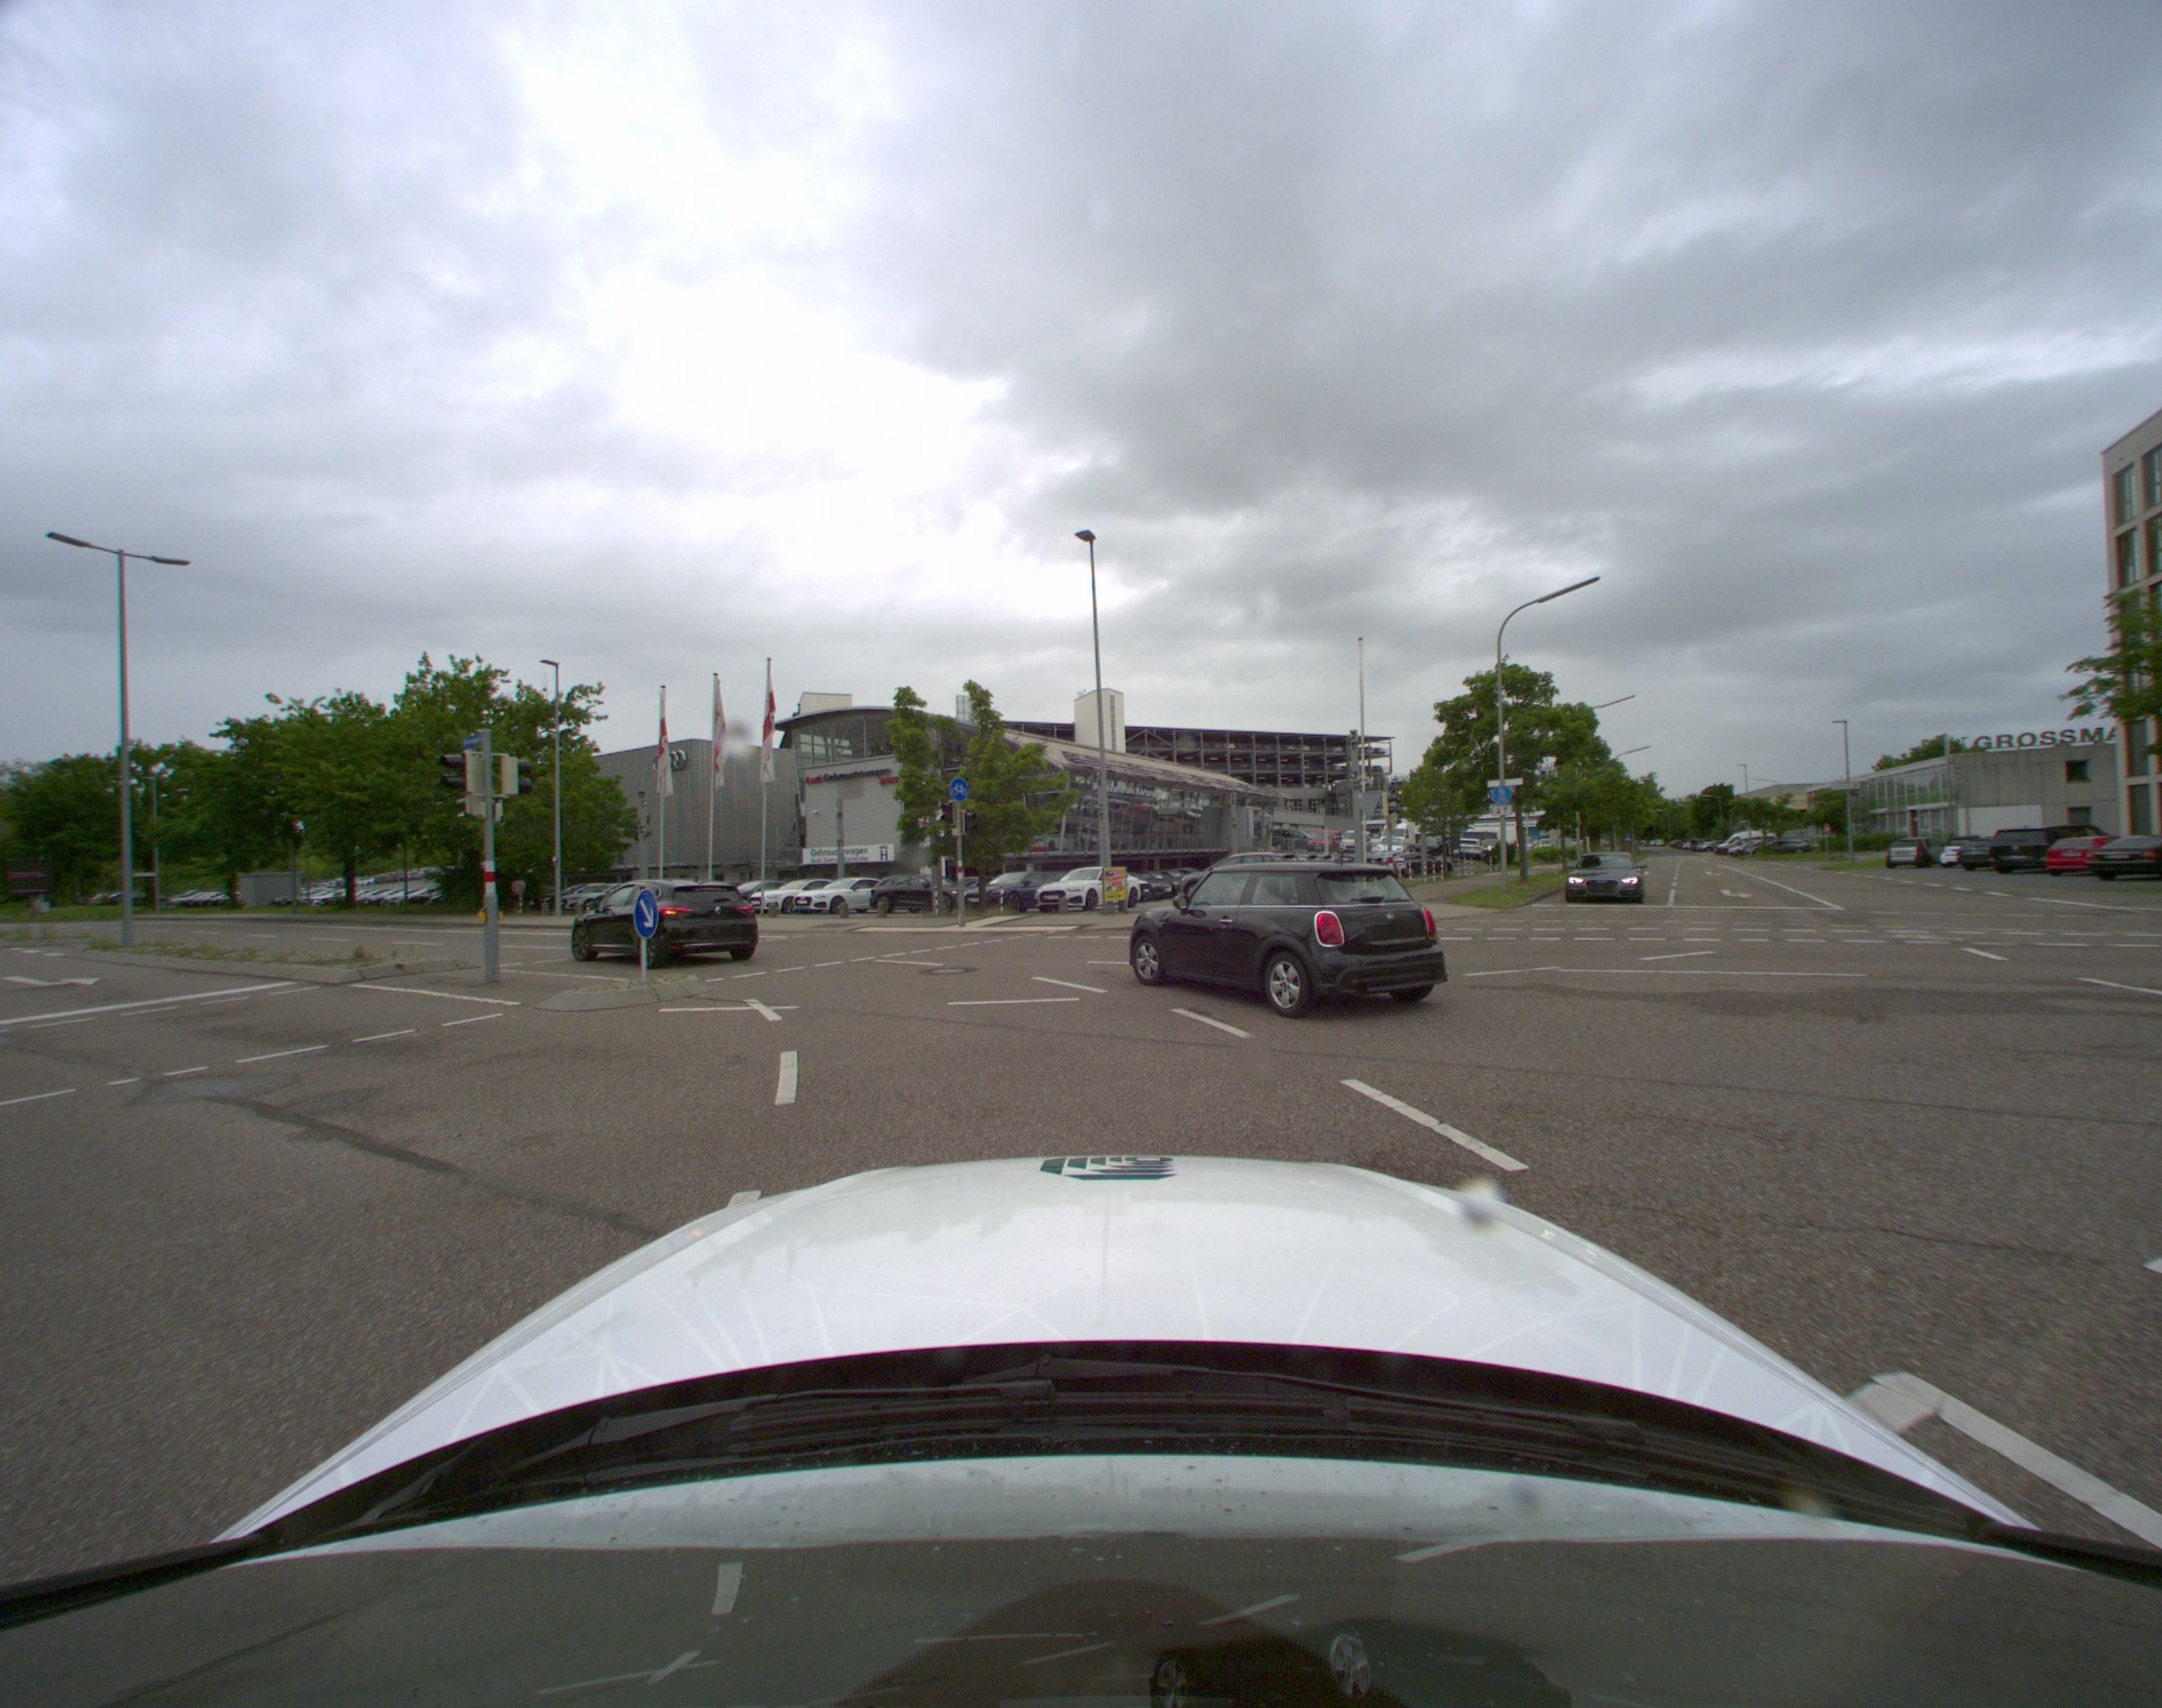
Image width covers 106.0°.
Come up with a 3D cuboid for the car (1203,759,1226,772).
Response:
[{"bbox_3d":[22.468,-14.856,137.248,2.002,1.667,3.969,-1,0,-23],"label":"car"}]

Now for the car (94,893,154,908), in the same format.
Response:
[{"bbox_3d":[-100.832,4.889,85.805,1.708,1.436,4.025,0,-1,38],"label":"car"}]

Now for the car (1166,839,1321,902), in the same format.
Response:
[{"bbox_3d":[5.566,0.588,28.067,4.726,1.863,2.012,-4,-2,30],"label":"car"}]

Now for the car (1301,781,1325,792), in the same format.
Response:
[{"bbox_3d":[41.511,-12.076,145.877,2.002,1.667,3.969,-1,0,-23],"label":"car"}]

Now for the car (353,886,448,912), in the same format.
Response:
[{"bbox_3d":[-43.762,2.909,52.452,1.951,1.486,4.220,0,-4,32],"label":"car"}]

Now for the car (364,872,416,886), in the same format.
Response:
[{"bbox_3d":[-77.584,2.766,91.512,1.708,1.436,4.124,0,0,30],"label":"car"}]

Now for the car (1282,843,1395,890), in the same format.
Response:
[{"bbox_3d":[12.552,0.641,39.777,4.845,2.014,2.012,-4,-2,30],"label":"car"}]

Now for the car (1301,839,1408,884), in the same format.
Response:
[{"bbox_3d":[14.089,0.423,42.044,4.845,2.014,2.012,-4,-2,30],"label":"car"}]

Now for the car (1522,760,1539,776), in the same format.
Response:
[{"bbox_3d":[65.617,-12.542,118.814,1.974,1.883,4.025,-3,-2,30],"label":"car"}]

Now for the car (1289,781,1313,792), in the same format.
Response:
[{"bbox_3d":[39.251,-12.076,145.305,2.002,1.667,3.969,-1,0,-23],"label":"car"}]

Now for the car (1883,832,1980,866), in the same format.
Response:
[{"bbox_3d":[43.726,-0.258,41.907,3.419,1.732,1.762,0,0,-7],"label":"car"}]

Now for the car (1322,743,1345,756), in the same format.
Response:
[{"bbox_3d":[46.037,-19.062,148.647,2.002,1.667,3.969,-1,0,-23],"label":"car"}]

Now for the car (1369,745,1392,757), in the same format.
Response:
[{"bbox_3d":[56.332,-19.428,153.258,2.002,1.667,3.969,-1,0,-23],"label":"car"}]

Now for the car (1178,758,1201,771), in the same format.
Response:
[{"bbox_3d":[17.971,-14.854,135.303,2.002,1.667,3.969,-1,0,-23],"label":"car"}]

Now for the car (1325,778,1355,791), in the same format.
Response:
[{"bbox_3d":[47.932,-12.903,150.588,2.215,1.945,5.285,-1,0,-27],"label":"car"}]

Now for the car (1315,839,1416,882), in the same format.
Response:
[{"bbox_3d":[15.529,0.397,44.513,4.845,2.014,2.012,-4,-2,30],"label":"car"}]

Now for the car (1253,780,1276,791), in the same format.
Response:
[{"bbox_3d":[31.965,-11.926,141.696,2.002,1.667,3.969,-1,0,-23],"label":"car"}]

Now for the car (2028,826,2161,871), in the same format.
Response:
[{"bbox_3d":[37.886,-0.204,30.132,4.121,1.551,1.882,-1,-1,-10],"label":"car"}]

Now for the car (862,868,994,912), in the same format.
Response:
[{"bbox_3d":[-5.636,1.361,29.782,4.693,1.486,1.904,-3,-4,32],"label":"car"}]

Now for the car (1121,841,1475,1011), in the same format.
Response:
[{"bbox_3d":[2.070,0.761,8.823,1.794,1.416,3.612,2,-5,-25],"label":"car"}]

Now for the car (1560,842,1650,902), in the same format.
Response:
[{"bbox_3d":[15.387,0.473,23.788,1.959,1.551,4.643,-2,0,35],"label":"car"}]

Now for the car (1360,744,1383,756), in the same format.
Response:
[{"bbox_3d":[54.319,-19.382,152.278,2.002,1.667,3.969,-1,0,-23],"label":"car"}]

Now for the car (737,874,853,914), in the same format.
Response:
[{"bbox_3d":[-11.350,1.604,32.569,1.852,1.486,4.069,-2,-3,32],"label":"car"}]

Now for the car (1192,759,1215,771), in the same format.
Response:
[{"bbox_3d":[20.503,-14.854,136.178,2.002,1.667,3.969,-1,0,-23],"label":"car"}]

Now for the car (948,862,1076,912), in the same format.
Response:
[{"bbox_3d":[-2.233,1.148,27.638,2.043,1.486,4.544,-4,-4,30],"label":"car"}]

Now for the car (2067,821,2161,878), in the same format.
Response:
[{"bbox_3d":[35.254,-0.168,26.583,4.113,1.768,1.885,-1,-1,-5],"label":"car"}]

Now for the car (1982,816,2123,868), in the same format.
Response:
[{"bbox_3d":[39.360,-0.476,33.031,4.237,1.965,1.990,-1,-1,-14],"label":"car"}]

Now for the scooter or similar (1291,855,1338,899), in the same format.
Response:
[{"bbox_3d":[6.854,0.658,23.890,1.568,1.218,0.552,-1,2,-42],"label":"scooter or similar"}]

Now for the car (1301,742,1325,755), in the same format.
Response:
[{"bbox_3d":[41.584,-18.944,146.107,2.002,1.667,3.969,-1,0,-23],"label":"car"}]

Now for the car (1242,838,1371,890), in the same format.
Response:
[{"bbox_3d":[9.697,0.468,35.031,4.899,1.876,2.066,-4,-3,28],"label":"car"}]

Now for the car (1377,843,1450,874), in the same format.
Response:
[{"bbox_3d":[20.728,0.289,50.807,3.948,1.838,1.771,0,-1,32],"label":"car"}]

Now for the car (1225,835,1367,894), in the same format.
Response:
[{"bbox_3d":[8.634,0.470,32.771,4.974,2.014,2.280,-4,-2,30],"label":"car"}]

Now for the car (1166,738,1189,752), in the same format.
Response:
[{"bbox_3d":[15.886,-17.967,134.374,2.002,1.667,3.969,-1,0,-23],"label":"car"}]

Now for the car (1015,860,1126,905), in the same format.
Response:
[{"bbox_3d":[-0.532,1.323,37.844,4.755,1.939,2.013,-3,-1,32],"label":"car"}]

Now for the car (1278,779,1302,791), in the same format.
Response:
[{"bbox_3d":[36.949,-12.154,143.925,2.002,1.667,3.969,-1,0,-23],"label":"car"}]

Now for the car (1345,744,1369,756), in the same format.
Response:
[{"bbox_3d":[50.938,-19.218,150.440,2.002,1.667,3.969,-1,0,-23],"label":"car"}]

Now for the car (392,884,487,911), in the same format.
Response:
[{"bbox_3d":[-39.301,2.674,49.987,1.795,1.486,4.100,0,-5,31],"label":"car"}]

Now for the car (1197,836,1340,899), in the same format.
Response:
[{"bbox_3d":[6.941,0.520,30.261,4.655,2.014,2.012,-4,-3,30],"label":"car"}]

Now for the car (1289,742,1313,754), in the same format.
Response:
[{"bbox_3d":[39.157,-18.864,144.976,2.002,1.667,3.969,-1,0,-23],"label":"car"}]

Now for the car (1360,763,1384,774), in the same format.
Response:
[{"bbox_3d":[54.292,-15.898,152.078,2.002,1.667,3.969,-1,0,-23],"label":"car"}]

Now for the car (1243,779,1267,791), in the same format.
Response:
[{"bbox_3d":[30.017,-11.927,140.637,2.002,1.667,3.969,-1,0,-23],"label":"car"}]

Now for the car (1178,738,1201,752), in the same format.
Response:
[{"bbox_3d":[17.986,-18.177,135.585,2.002,1.667,3.969,-1,0,-23],"label":"car"}]

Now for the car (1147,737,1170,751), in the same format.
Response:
[{"bbox_3d":[12.670,-17.966,133.578,2.002,1.667,3.969,-1,0,-23],"label":"car"}]

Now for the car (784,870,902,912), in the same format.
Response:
[{"bbox_3d":[-9.074,1.439,31.406,1.829,1.486,4.224,-2,-3,32],"label":"car"}]

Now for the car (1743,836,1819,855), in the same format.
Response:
[{"bbox_3d":[64.925,-0.752,75.655,5.124,1.720,2.157,0,-1,32],"label":"car"}]

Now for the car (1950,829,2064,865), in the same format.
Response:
[{"bbox_3d":[40.981,-0.299,36.076,3.808,1.511,1.690,-1,-1,-13],"label":"car"}]

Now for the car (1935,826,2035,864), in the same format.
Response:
[{"bbox_3d":[44.052,-0.406,39.710,3.419,1.798,1.587,0,-1,-7],"label":"car"}]

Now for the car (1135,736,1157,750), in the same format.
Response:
[{"bbox_3d":[10.513,-17.969,132.413,2.002,1.667,3.969,-1,0,-23],"label":"car"}]

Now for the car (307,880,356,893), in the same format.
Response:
[{"bbox_3d":[-92.285,4.023,100.318,1.708,1.436,4.124,0,0,30],"label":"car"}]

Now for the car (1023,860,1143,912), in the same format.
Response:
[{"bbox_3d":[0.157,1.020,26.201,1.850,1.486,4.255,-3,-3,32],"label":"car"}]

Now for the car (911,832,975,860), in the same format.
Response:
[{"bbox_3d":[-8.576,-0.473,51.017,1.802,1.662,4.025,0,0,30],"label":"car"}]

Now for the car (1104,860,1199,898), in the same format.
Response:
[{"bbox_3d":[3.859,1.391,44.810,4.755,1.939,2.013,-3,-1,32],"label":"car"}]

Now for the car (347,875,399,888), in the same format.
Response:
[{"bbox_3d":[-81.892,3.147,94.250,1.708,1.436,4.239,0,0,30],"label":"car"}]
